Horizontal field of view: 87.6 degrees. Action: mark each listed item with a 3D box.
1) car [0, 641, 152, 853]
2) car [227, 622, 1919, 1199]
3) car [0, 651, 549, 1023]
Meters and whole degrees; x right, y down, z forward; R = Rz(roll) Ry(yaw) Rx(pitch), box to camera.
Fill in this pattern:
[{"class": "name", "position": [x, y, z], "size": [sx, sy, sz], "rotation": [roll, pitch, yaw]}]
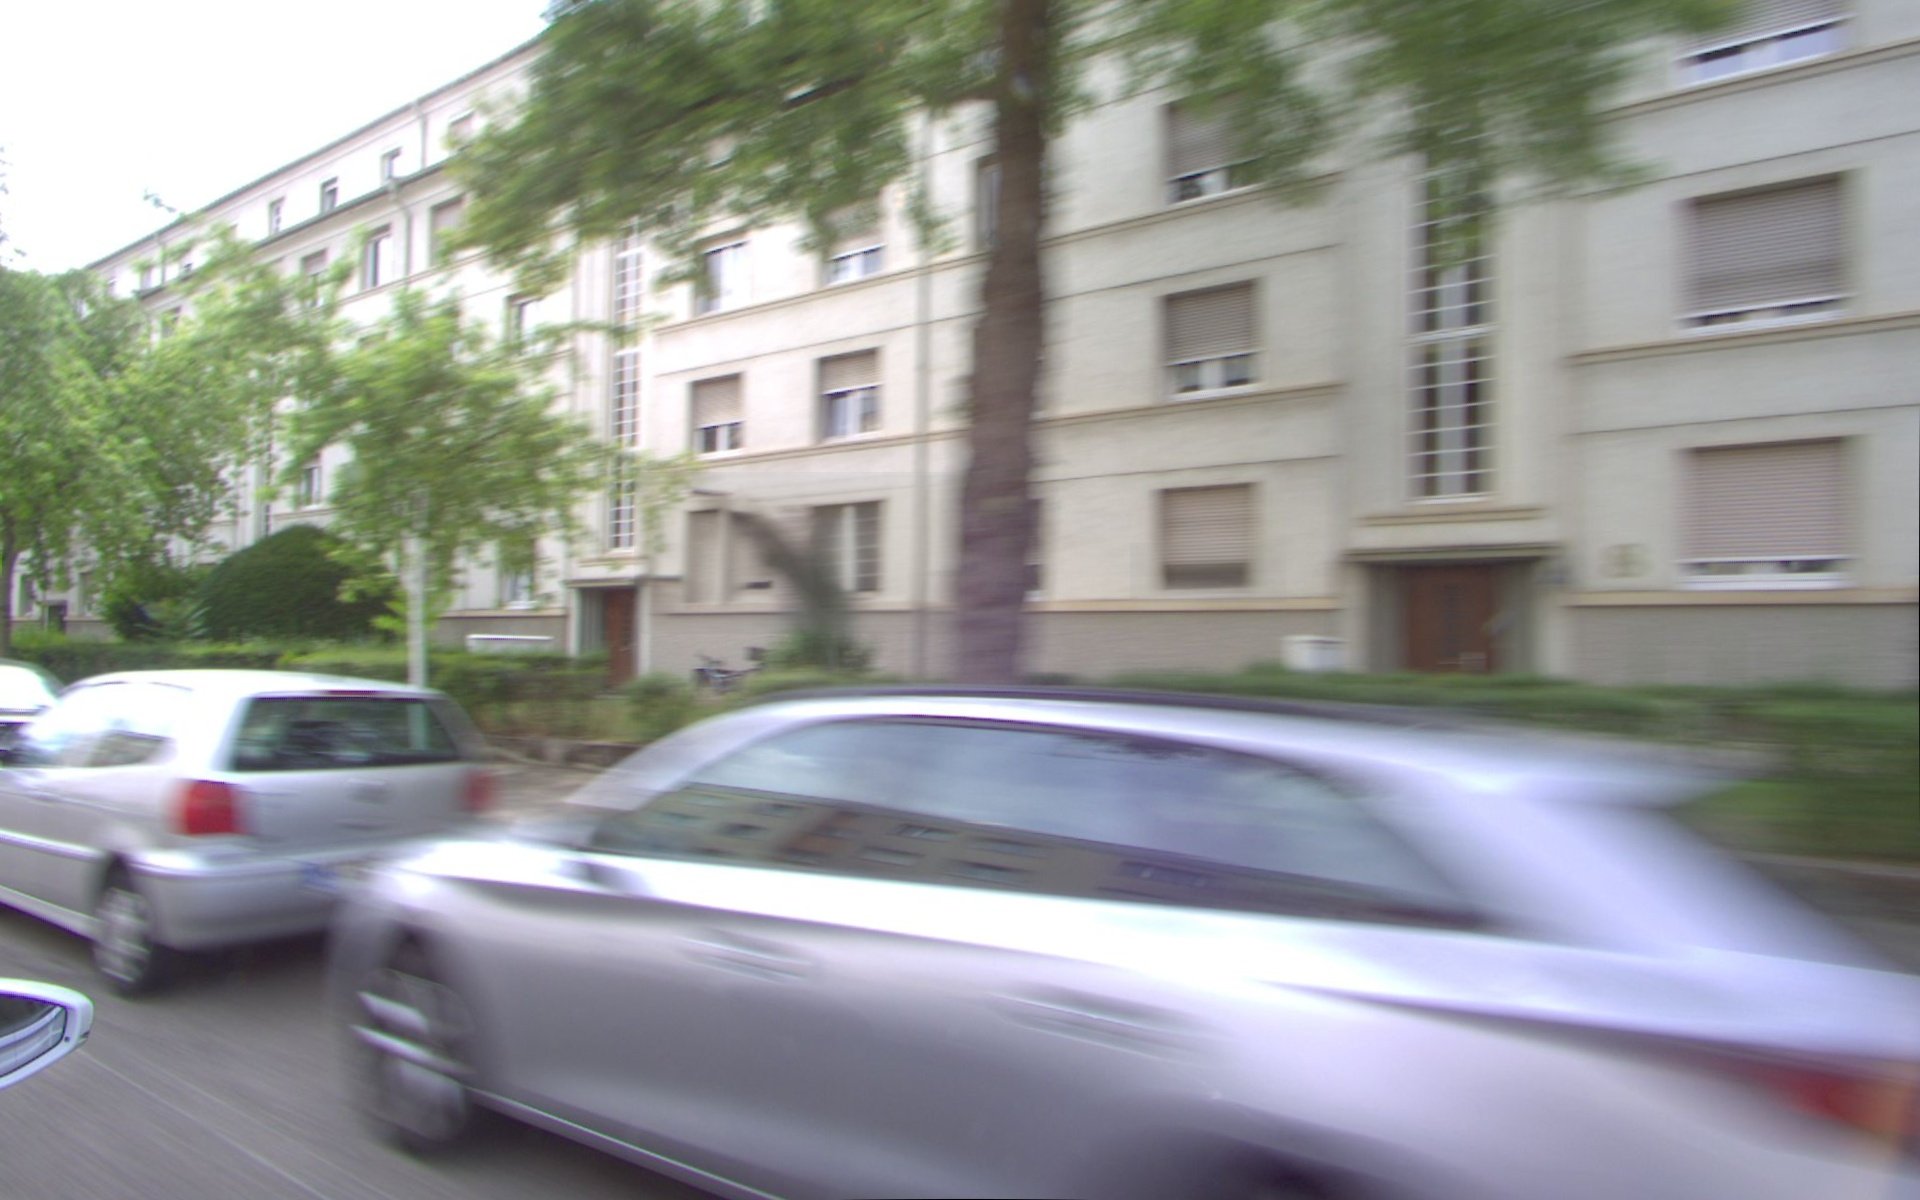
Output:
[{"class": "car", "position": [-8.647, 1.070, 8.345], "size": [4.553, 1.487, 1.776], "rotation": [-1, -4, 36]}, {"class": "car", "position": [-0.097, 0.858, 2.981], "size": [4.649, 1.487, 1.696], "rotation": [-1, -4, 32]}, {"class": "car", "position": [-4.285, 1.043, 5.668], "size": [3.796, 1.417, 1.669], "rotation": [-1, -5, 32]}]
